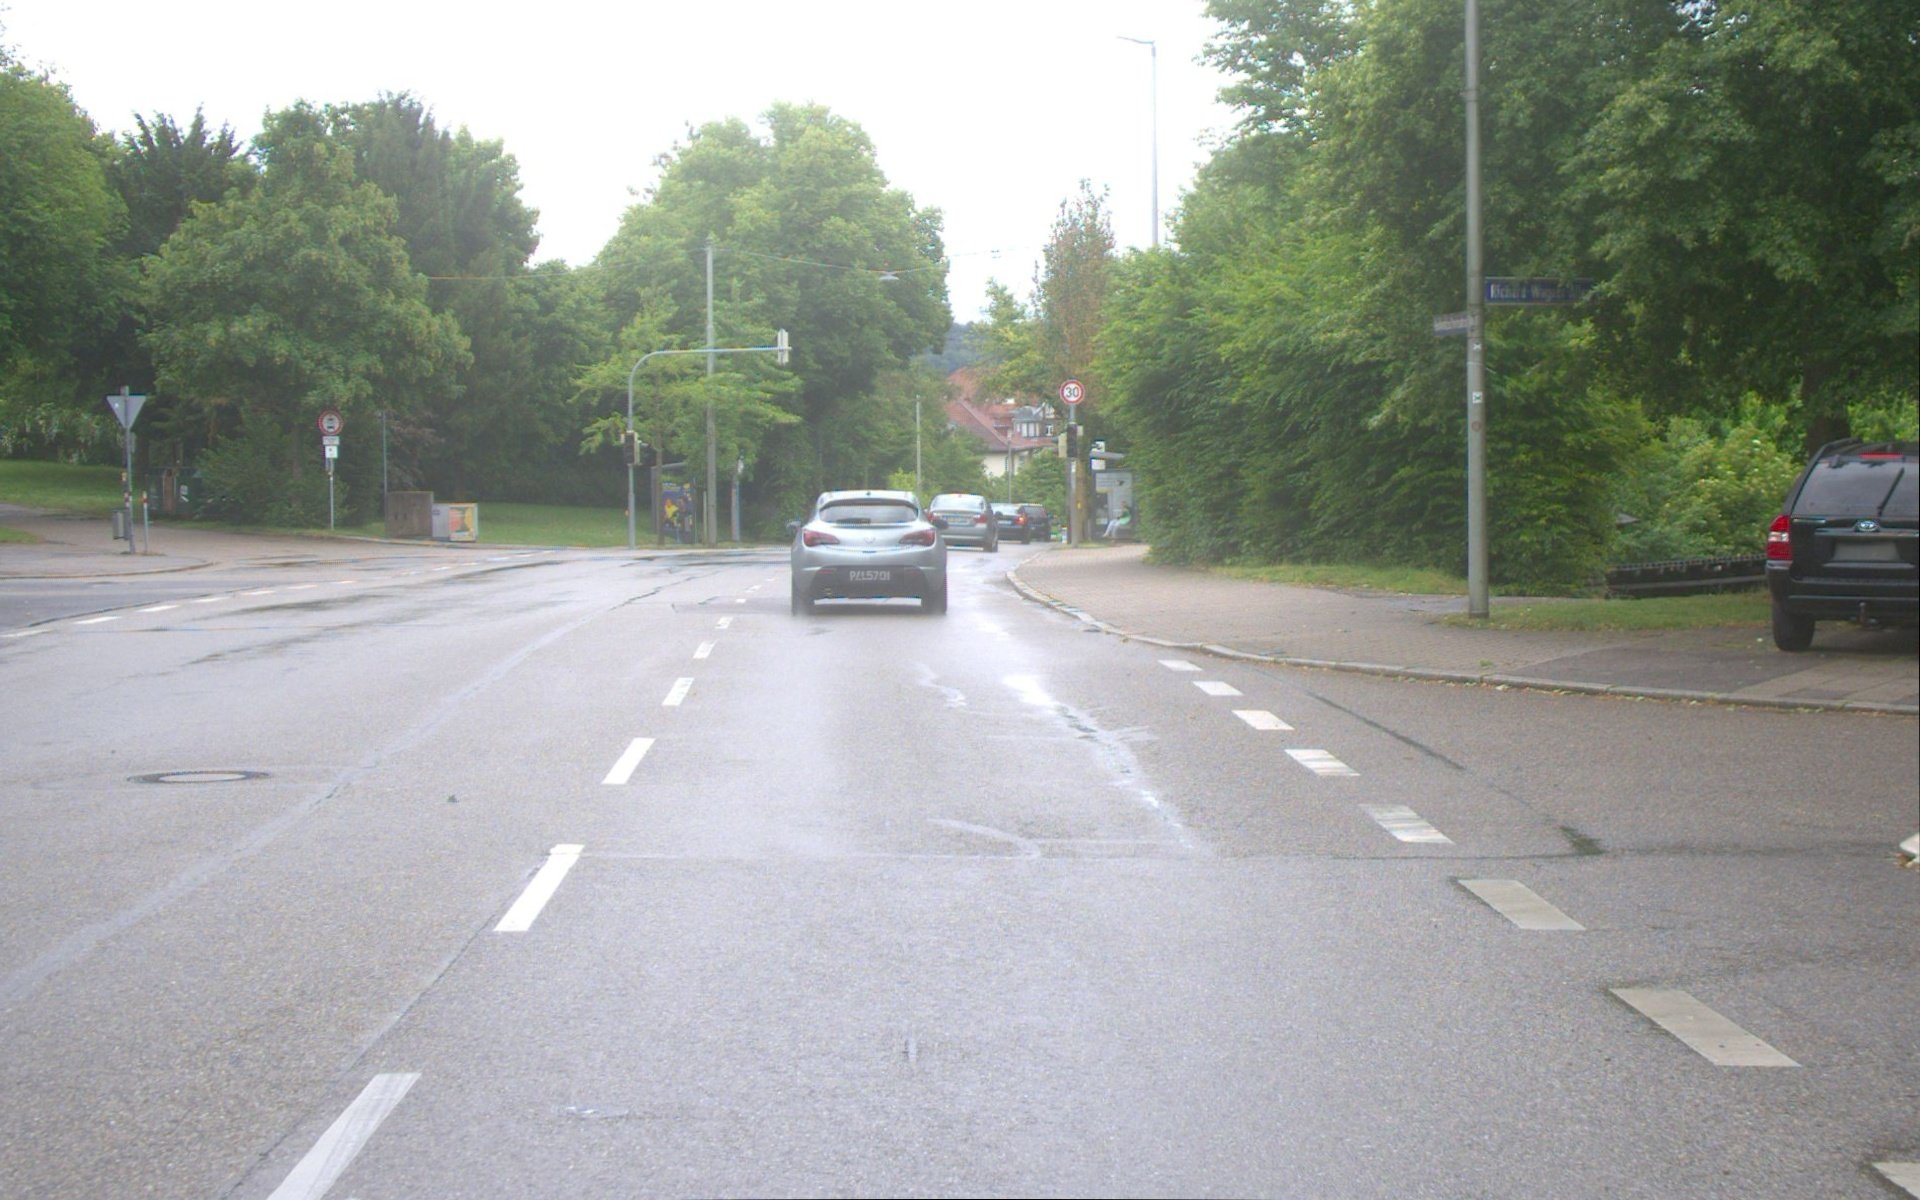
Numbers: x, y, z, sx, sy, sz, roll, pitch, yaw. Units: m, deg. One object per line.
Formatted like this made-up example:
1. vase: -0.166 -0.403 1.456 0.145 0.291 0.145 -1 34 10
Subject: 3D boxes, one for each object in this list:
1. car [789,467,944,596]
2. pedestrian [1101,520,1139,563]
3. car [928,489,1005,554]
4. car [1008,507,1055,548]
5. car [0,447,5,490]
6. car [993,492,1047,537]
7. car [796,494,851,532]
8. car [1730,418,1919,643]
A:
1. car: -1.084 -0.806 41.390 1.754 1.459 4.000 -1 0 0
2. pedestrian: 5.109 -1.858 109.860 1.074 1.351 0.918 -1 1 10
3. car: 0.174 -1.923 84.782 1.721 1.459 4.000 3 1 2
4. car: 2.820 -2.831 134.649 1.721 1.459 4.000 3 1 2
5. car: -35.379 -4.608 119.821 3.895 1.481 1.936 0 1 -19
6. car: 2.100 -2.949 119.317 1.721 1.459 4.000 3 1 2
7. car: -5.085 -3.275 128.504 1.661 1.302 4.083 -2 2 3
8. car: 8.165 -0.662 29.186 1.950 1.683 4.897 2 4 28
